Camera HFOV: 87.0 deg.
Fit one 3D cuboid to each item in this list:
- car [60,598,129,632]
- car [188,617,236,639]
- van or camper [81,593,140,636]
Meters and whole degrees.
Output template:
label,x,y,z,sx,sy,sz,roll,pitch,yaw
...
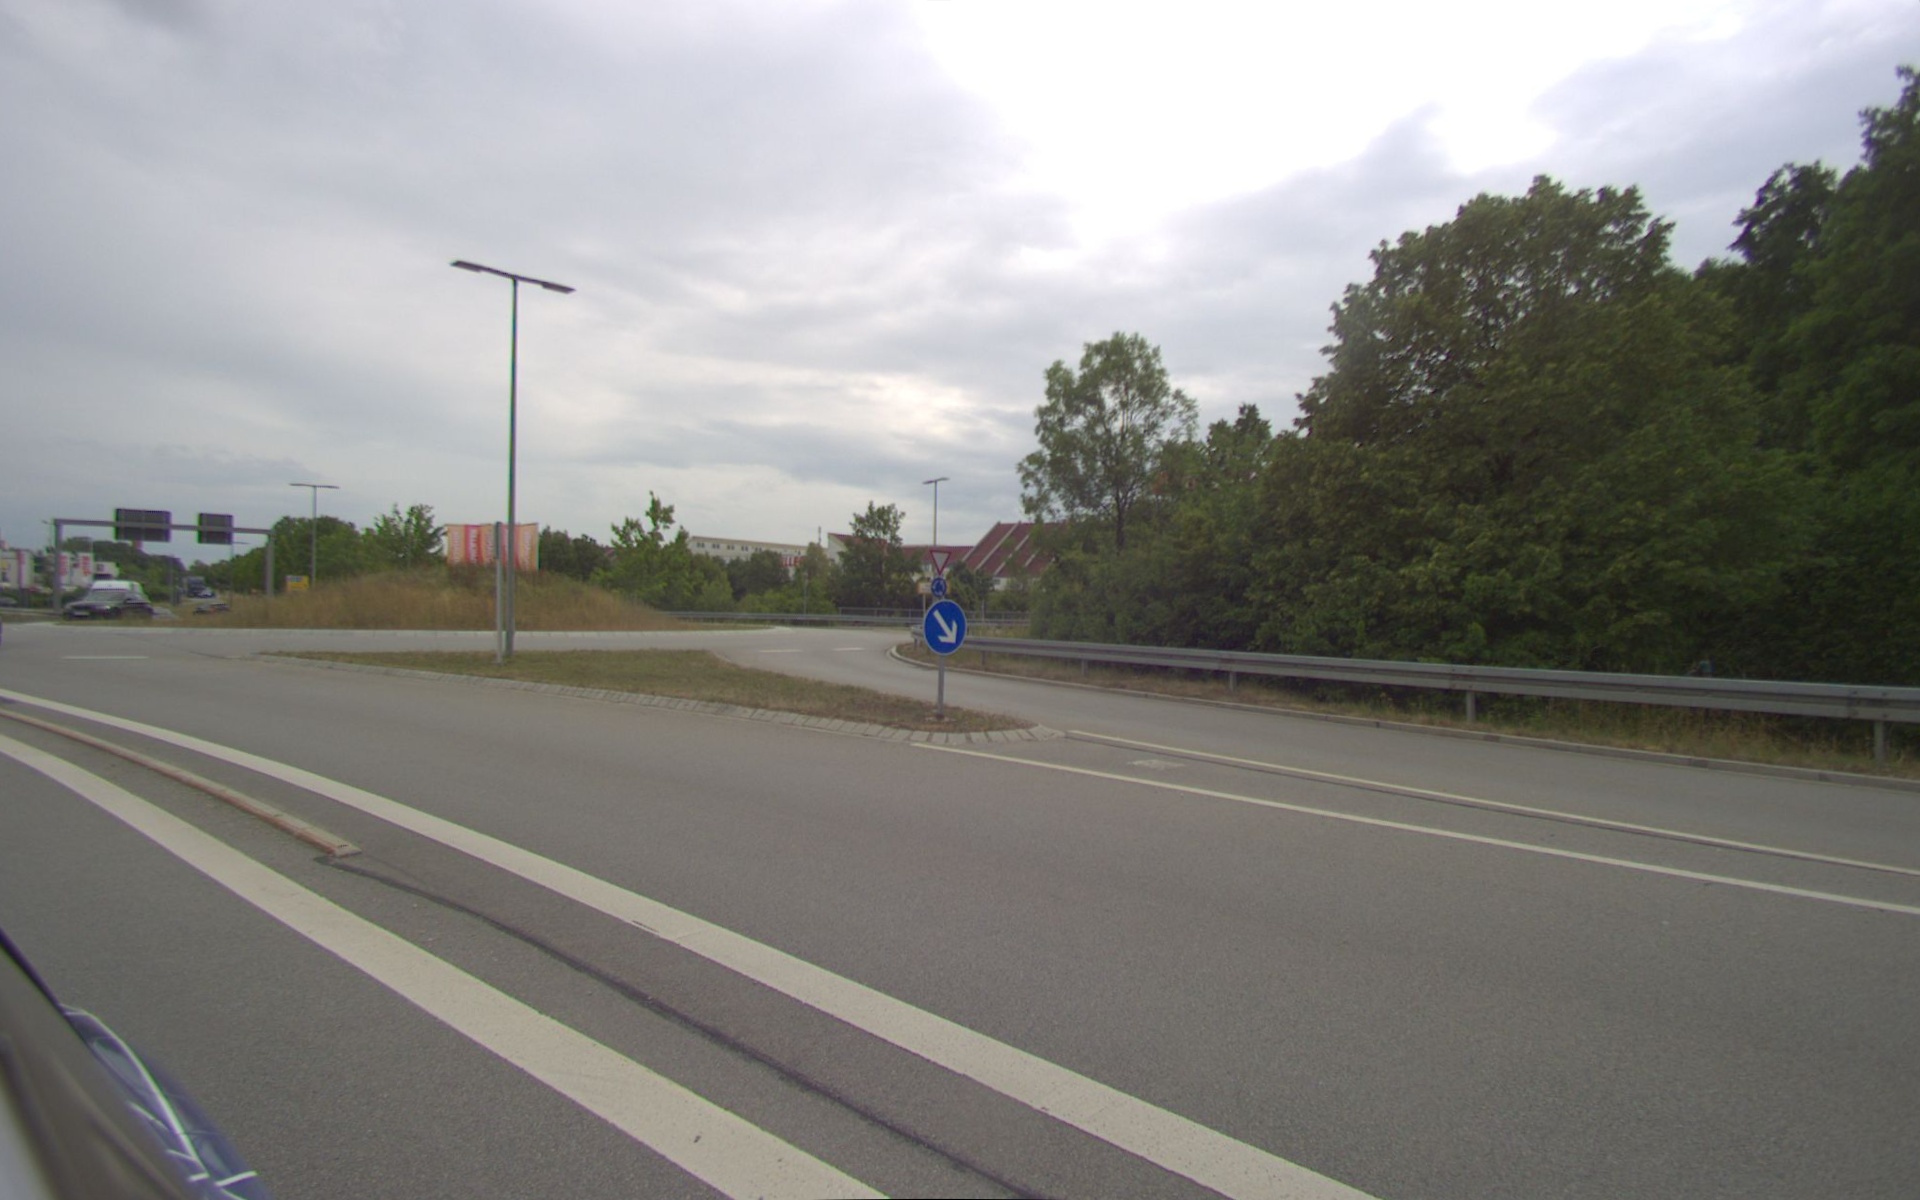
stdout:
label,x,y,z,sx,sy,sz,roll,pitch,yaw
car,-35.180,0.574,41.200,1.553,1.278,3.324,0,1,-30
car,-71.751,2.694,97.040,5.037,1.804,2.082,2,0,33
van or camper,-49.340,0.779,58.853,2.019,2.382,5.556,0,1,-34
